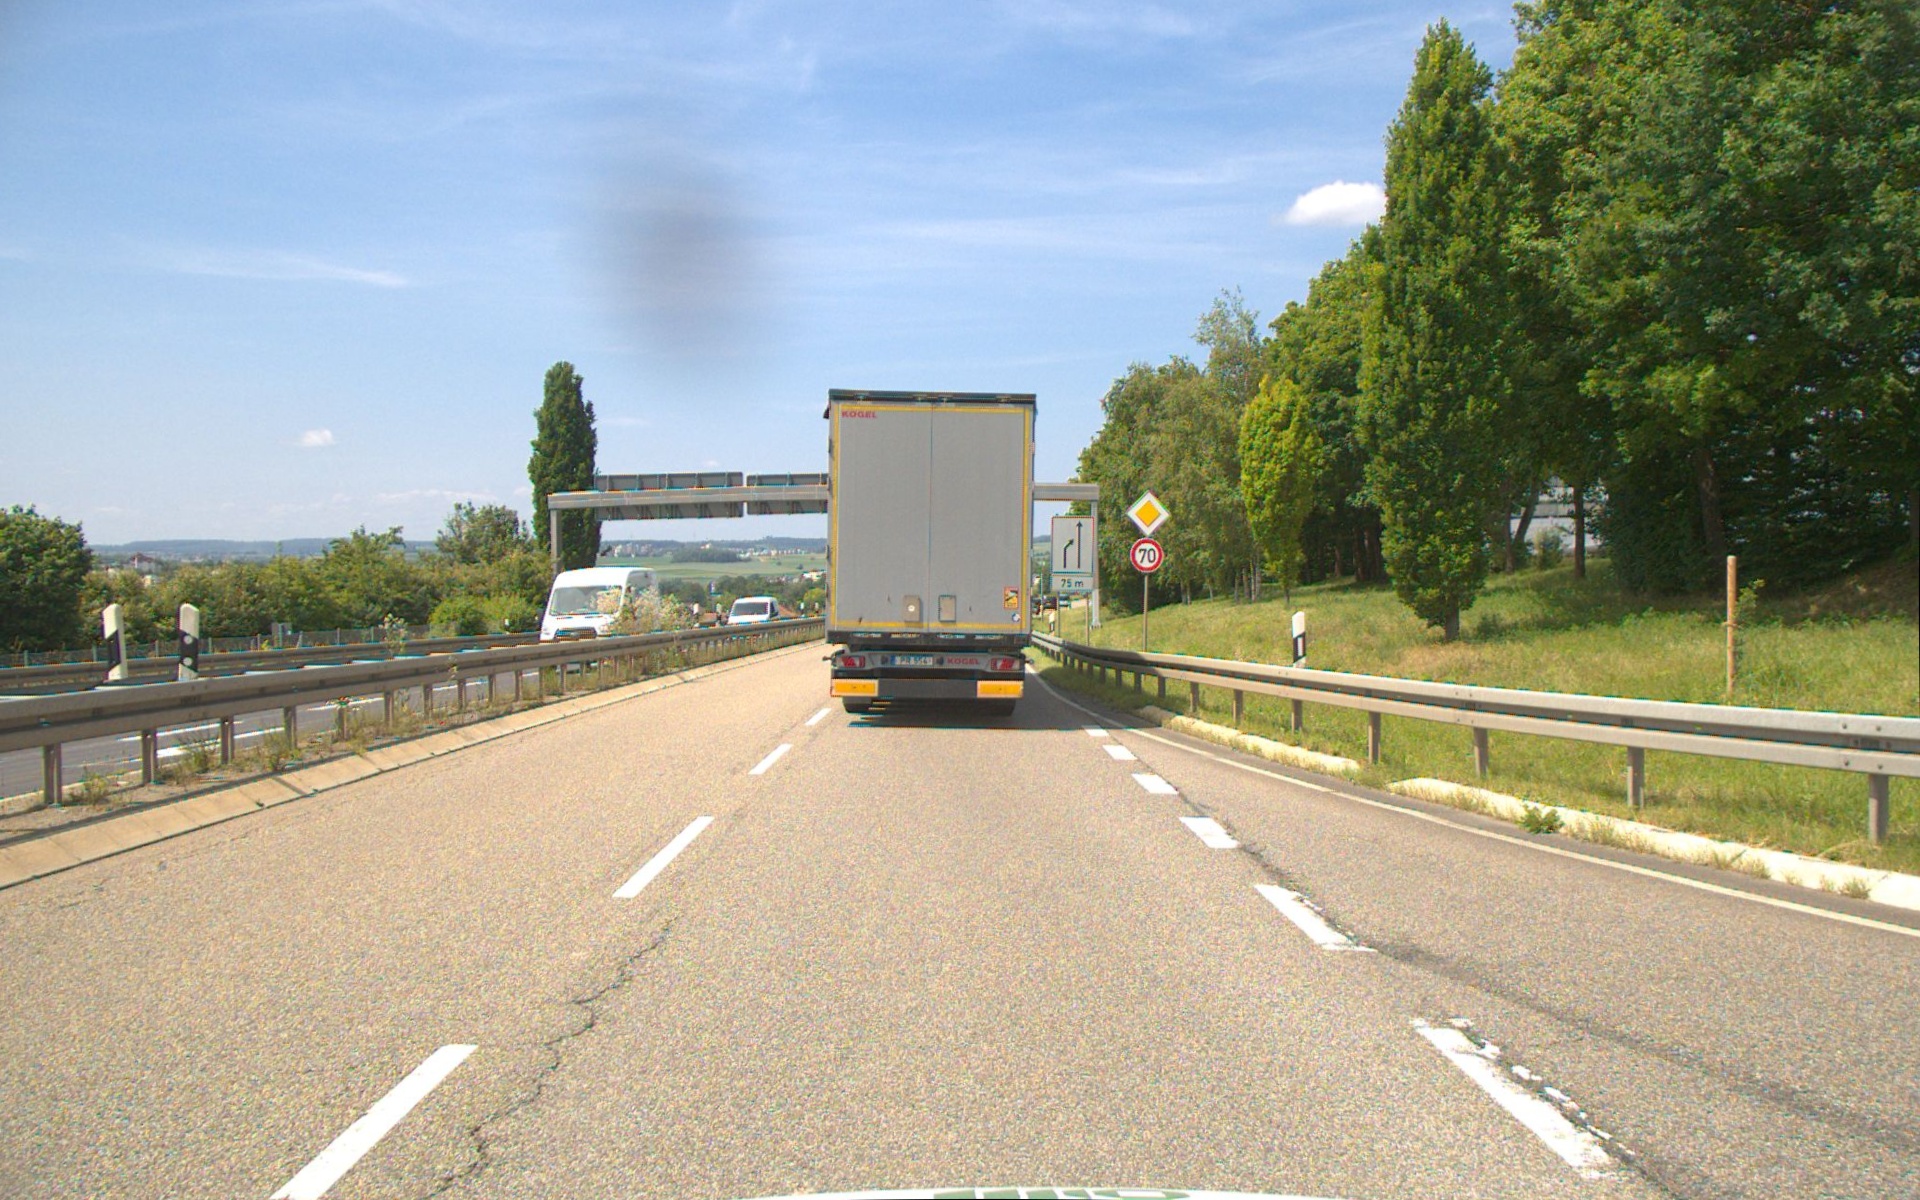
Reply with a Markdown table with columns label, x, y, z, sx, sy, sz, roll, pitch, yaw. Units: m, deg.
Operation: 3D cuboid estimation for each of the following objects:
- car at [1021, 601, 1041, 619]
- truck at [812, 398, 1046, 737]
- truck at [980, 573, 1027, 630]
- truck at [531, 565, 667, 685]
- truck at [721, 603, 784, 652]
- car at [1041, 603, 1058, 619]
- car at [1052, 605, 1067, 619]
| label | x | y | z | sx | sy | sz | roll | pitch | yaw |
| --- | --- | --- | --- | --- | --- | --- | --- | --- | --- |
| car | 6.887 | 0.970 | 160.281 | 1.749 | 1.717 | 4.000 | 0 | -1 | 1 |
| truck | -0.438 | -0.346 | 25.270 | 2.742 | 3.998 | 11.339 | 0 | 0 | -1 |
| truck | 3.188 | 0.200 | 118.650 | 2.599 | 3.831 | 10.167 | 0 | -1 | 6 |
| truck | -8.850 | 0.592 | 41.069 | 1.999 | 2.666 | 6.019 | -3 | 0 | -1 |
| truck | -8.202 | 1.115 | 65.717 | 1.811 | 1.779 | 4.537 | -3 | -1 | 1 |
| car | 10.416 | 1.287 | 192.875 | 1.749 | 1.717 | 4.000 | 0 | -1 | 1 |
| car | 12.766 | 1.542 | 212.849 | 1.749 | 1.717 | 4.000 | 0 | -1 | 1 |
